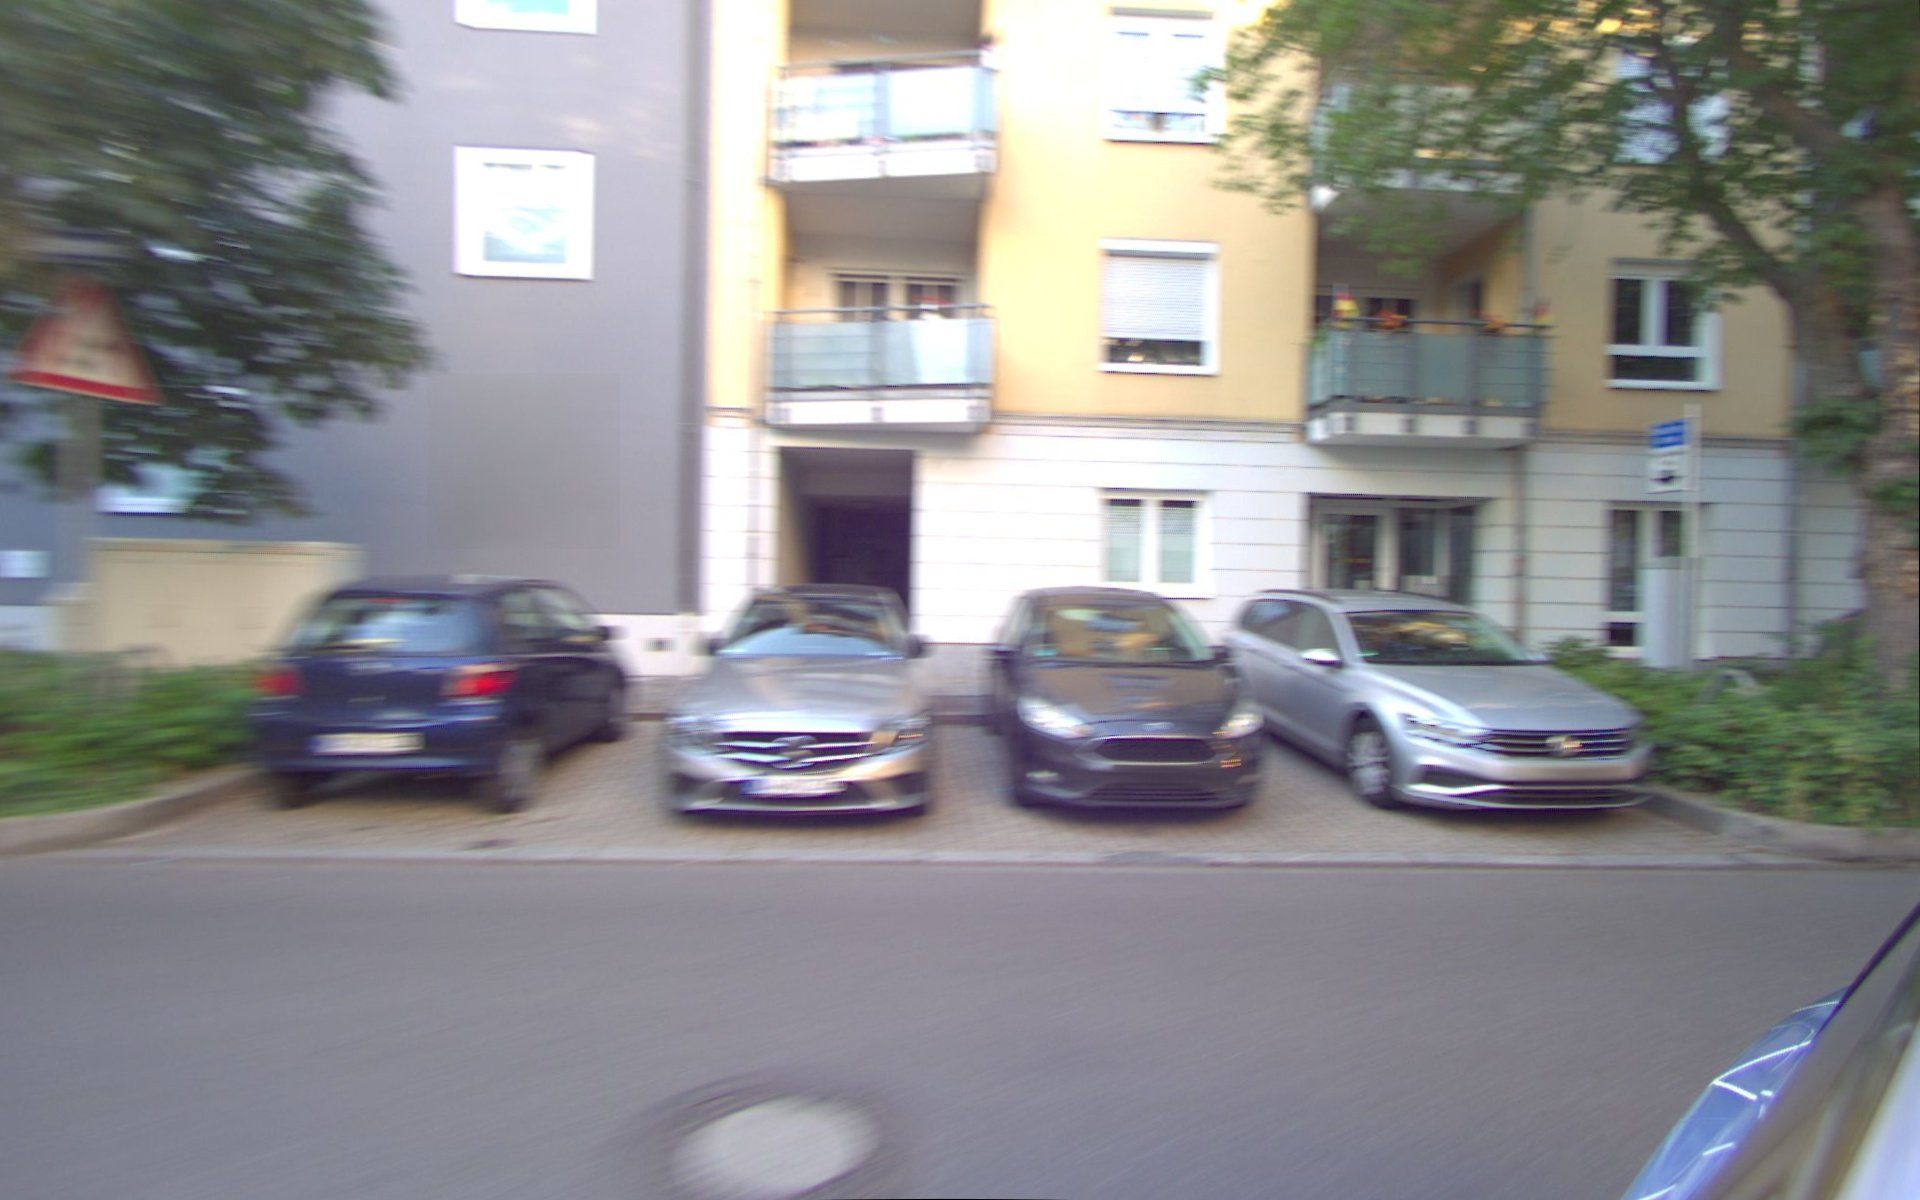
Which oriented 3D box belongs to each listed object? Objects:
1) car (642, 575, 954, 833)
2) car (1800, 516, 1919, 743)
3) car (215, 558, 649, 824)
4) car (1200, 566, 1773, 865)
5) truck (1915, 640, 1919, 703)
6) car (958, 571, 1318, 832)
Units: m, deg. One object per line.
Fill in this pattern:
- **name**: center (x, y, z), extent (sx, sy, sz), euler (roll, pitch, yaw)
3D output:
- **car**: center (-1.148, 0.589, 8.201), extent (1.835, 1.527, 4.298), euler (1, 1, -5)
- **car**: center (10.239, 0.383, 8.607), extent (1.996, 2.158, 4.643), euler (1, 5, -4)
- **car**: center (-3.672, 0.487, 7.750), extent (1.712, 1.544, 3.366), euler (1, 3, -3)
- **car**: center (3.676, 0.637, 8.323), extent (1.799, 1.725, 4.817), euler (1, 1, -6)
- **truck**: center (12.630, 0.404, 8.967), extent (2.216, 2.158, 6.035), euler (1, 5, -4)
- **car**: center (1.104, 0.592, 8.240), extent (1.816, 1.583, 4.086), euler (1, 1, -6)
